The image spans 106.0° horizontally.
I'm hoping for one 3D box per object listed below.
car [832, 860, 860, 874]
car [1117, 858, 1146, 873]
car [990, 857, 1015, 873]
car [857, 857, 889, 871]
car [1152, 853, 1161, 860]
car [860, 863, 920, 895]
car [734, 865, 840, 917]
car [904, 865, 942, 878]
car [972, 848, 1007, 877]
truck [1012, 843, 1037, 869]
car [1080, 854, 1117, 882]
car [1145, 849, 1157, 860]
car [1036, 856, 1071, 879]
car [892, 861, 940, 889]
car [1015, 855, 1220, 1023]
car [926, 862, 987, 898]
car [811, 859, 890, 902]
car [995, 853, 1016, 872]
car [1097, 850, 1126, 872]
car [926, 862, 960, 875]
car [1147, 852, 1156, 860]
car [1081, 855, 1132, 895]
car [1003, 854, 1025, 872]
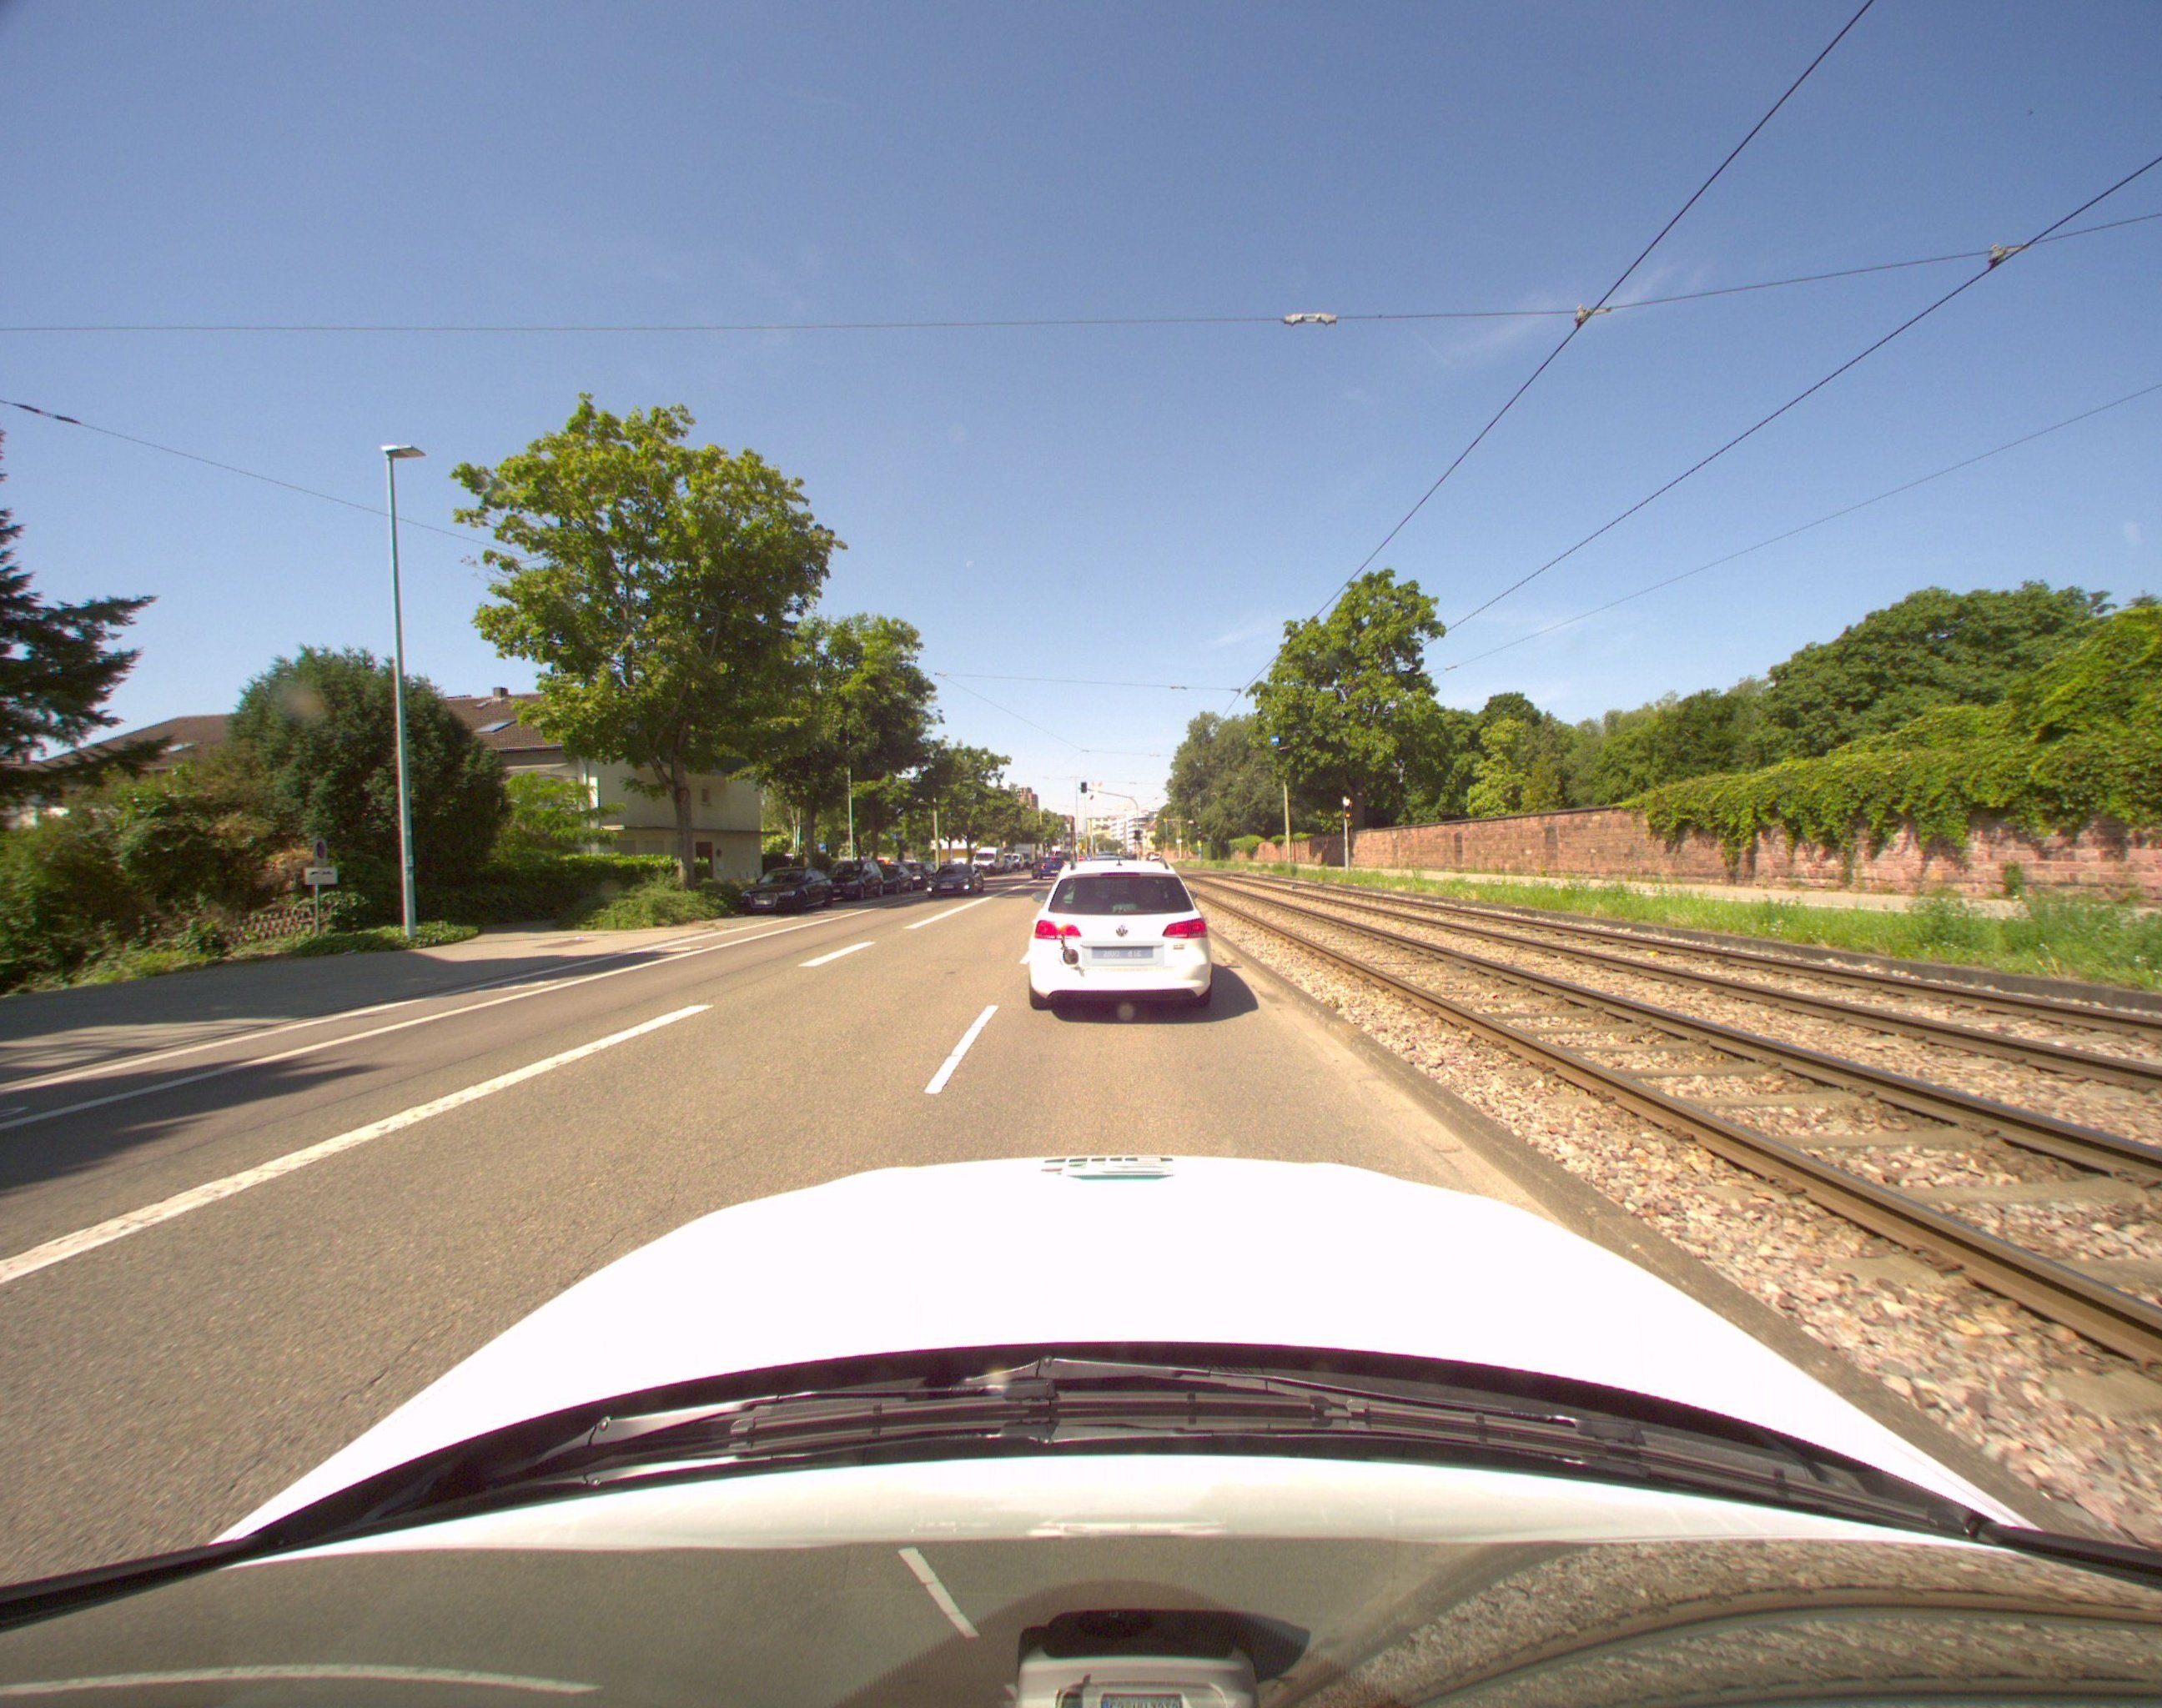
[{"bbox_3d":[-32.996,1.816,114.609,3.412,1.876,1.552,-2,0,0],"label":"car"},{"bbox_3d":[4.881,1.098,78.264,1.731,1.407,3.933,0,0,20],"label":"car"},{"bbox_3d":[-7.779,1.077,80.907,1.837,1.516,4.199,-2,0,2],"label":"car"},{"bbox_3d":[-30.472,1.501,119.581,4.249,2.014,1.997,0,-1,-5],"label":"car"},{"bbox_3d":[14.942,0.571,162.222,1.576,1.346,3.455,0,-1,2],"label":"car"},{"bbox_3d":[-9.346,1.207,40.192,1.684,1.379,4.784,-2,0,2],"label":"car"},{"bbox_3d":[-9.666,1.164,27.210,1.835,1.465,4.907,-2,0,-2],"label":"car"},{"bbox_3d":[-18.206,2.014,94.072,3.969,1.225,1.773,-2,0,4],"label":"car"},{"bbox_3d":[-8.320,0.730,74.801,2.049,2.501,6.315,1,0,5],"label":"car"},{"bbox_3d":[-7.094,0.235,102.966,2.348,3.122,6.893,-2,0,1],"label":"truck"},{"bbox_3d":[0.934,0.714,43.226,1.854,1.416,4.326,0,0,2],"label":"car"},{"bbox_3d":[15.939,0.166,184.939,2.454,2.499,5.912,0,-1,2],"label":"car"},{"bbox_3d":[-1.758,0.811,51.284,1.745,1.407,3.901,0,0,-9],"label":"car"},{"bbox_3d":[-9.022,1.111,44.740,1.635,1.450,4.007,0,0,3],"label":"car"},{"bbox_3d":[0.354,0.734,8.972,1.762,1.446,3.914,0,0,1],"label":"car"},{"bbox_3d":[-4.973,1.007,32.980,1.681,1.244,4.066,-2,0,2],"label":"car"},{"bbox_3d":[-9.517,1.051,34.014,1.755,1.606,4.895,-1,0,2],"label":"car"},{"bbox_3d":[-8.149,0.869,88.224,1.839,1.937,5.190,-2,0,-2],"label":"car"},{"bbox_3d":[2.257,0.504,59.076,1.852,1.513,3.919,0,0,6],"label":"car"},{"bbox_3d":[-17.592,1.882,103.870,3.969,1.444,1.773,-2,0,4],"label":"car"},{"bbox_3d":[15.227,0.440,176.364,1.685,1.812,3.455,0,-1,2],"label":"car"},{"bbox_3d":[0.929,0.720,29.819,1.739,1.388,3.914,0,0,2],"label":"car"},{"bbox_3d":[-7.718,0.990,93.906,1.836,1.960,5.137,-2,0,2],"label":"car"}]
